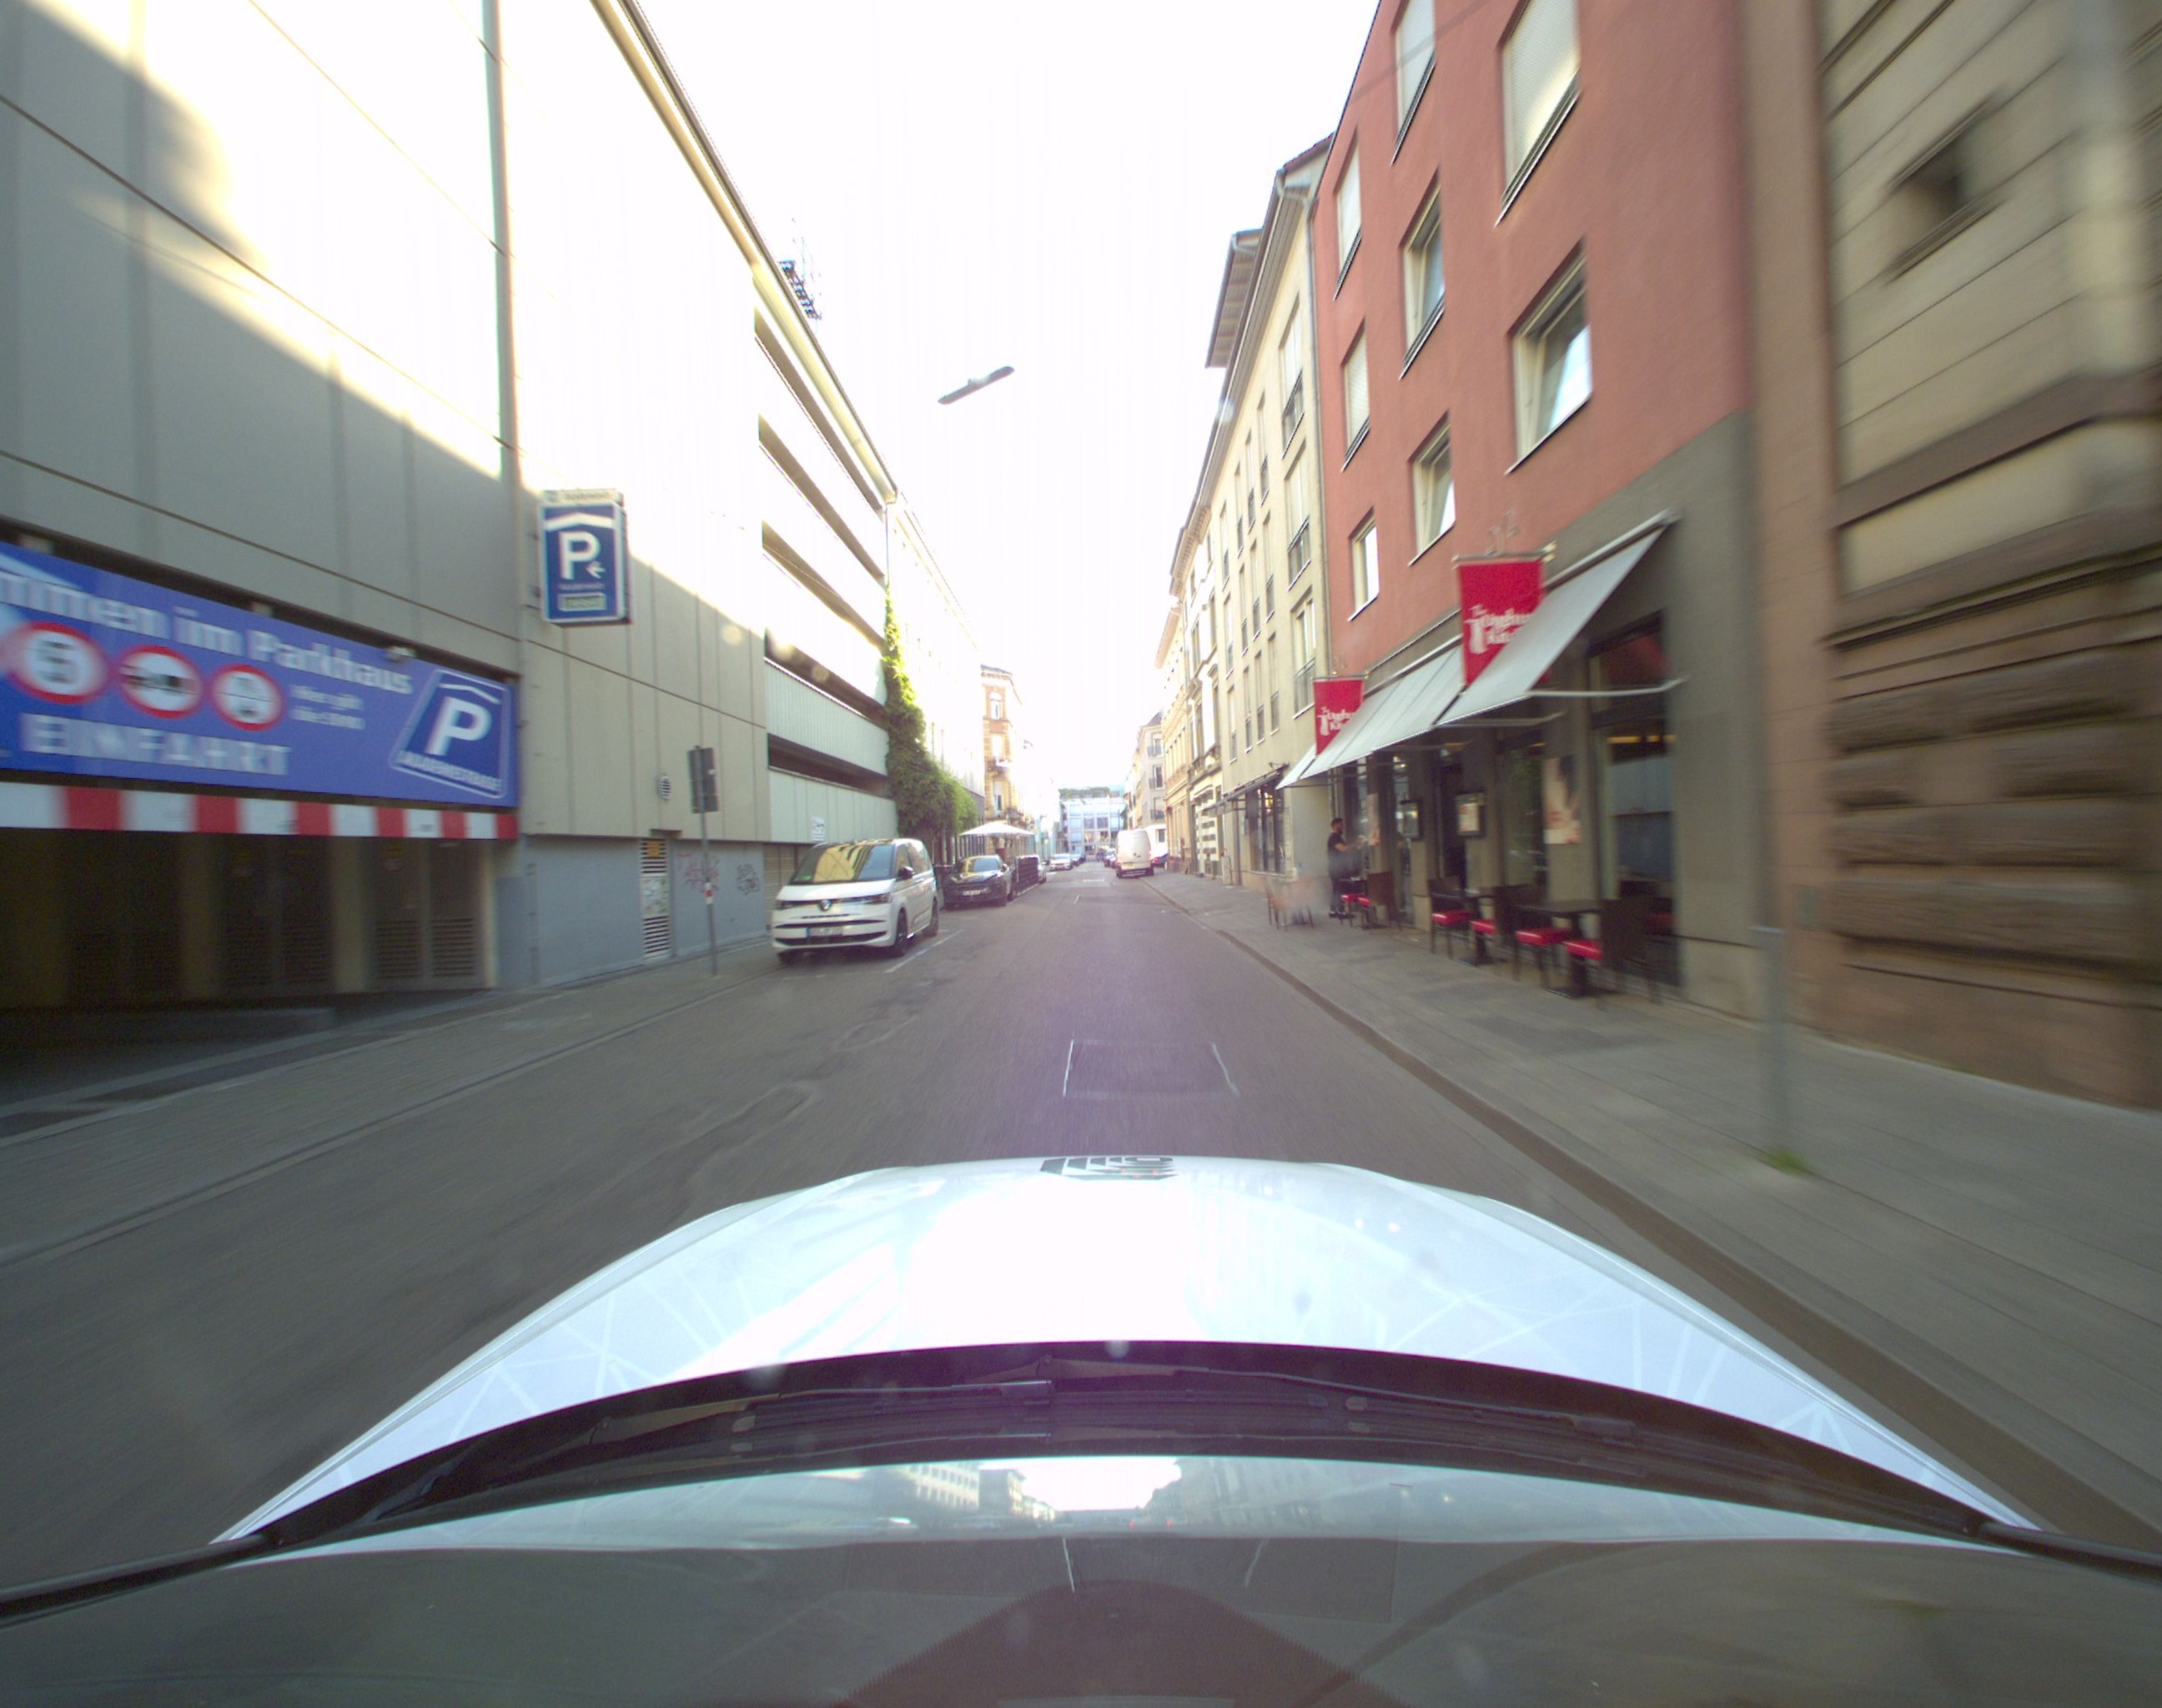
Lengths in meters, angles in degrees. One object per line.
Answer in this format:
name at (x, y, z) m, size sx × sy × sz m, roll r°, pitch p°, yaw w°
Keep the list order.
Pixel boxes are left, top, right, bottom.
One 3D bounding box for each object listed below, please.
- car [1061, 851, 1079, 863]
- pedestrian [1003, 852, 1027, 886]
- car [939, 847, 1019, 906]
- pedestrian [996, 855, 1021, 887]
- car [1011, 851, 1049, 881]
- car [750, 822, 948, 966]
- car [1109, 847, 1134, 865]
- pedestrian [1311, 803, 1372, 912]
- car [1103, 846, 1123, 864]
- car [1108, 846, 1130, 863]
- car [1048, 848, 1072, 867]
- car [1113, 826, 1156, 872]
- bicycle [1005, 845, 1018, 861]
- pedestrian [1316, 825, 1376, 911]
car at (-1.319, 0.362, 96.556) m, size 1.987 × 1.355 × 4.429 m, roll -2°, pitch 0°, yaw 1°
pedestrian at (-2.586, 0.570, 31.951) m, size 0.778 × 1.287 × 0.916 m, roll -3°, pitch 0°, yaw 1°
car at (-3.140, 0.635, 25.948) m, size 1.876 × 1.568 × 4.769 m, roll -5°, pitch 0°, yaw -1°
pedestrian at (-2.762, 0.643, 30.964) m, size 0.546 × 1.165 × 0.746 m, roll -2°, pitch 0°, yaw 33°
car at (-2.567, 0.594, 41.751) m, size 1.652 × 1.414 × 3.882 m, roll -2°, pitch 0°, yaw 0°
car at (-3.745, 0.558, 14.181) m, size 1.988 × 1.939 × 4.848 m, roll -4°, pitch 0°, yaw -1°
car at (3.552, 0.166, 72.510) m, size 1.932 × 1.372 × 3.788 m, roll -4°, pitch 0°, yaw 0°
pedestrian at (4.519, 0.065, 14.170) m, size 0.656 × 1.792 × 0.730 m, roll -5°, pitch 0°, yaw 0°
car at (3.250, 0.094, 83.927) m, size 1.887 × 1.784 × 4.000 m, roll -2°, pitch 0°, yaw 0°
car at (3.643, 0.068, 78.580) m, size 1.957 × 1.557 × 3.889 m, roll -2°, pitch 0°, yaw 1°
car at (-1.872, 0.309, 73.670) m, size 1.988 × 1.564 × 4.505 m, roll -4°, pitch 0°, yaw -1°
car at (3.067, -0.306, 47.961) m, size 2.268 × 2.439 × 6.207 m, roll -2°, pitch 0°, yaw 2°
bicycle at (-3.979, -0.063, 46.705) m, size 0.594 × 0.905 × 1.644 m, roll -2°, pitch 0°, yaw 0°
pedestrian at (4.790, 0.240, 14.767) m, size 0.822 × 1.486 × 0.661 m, roll -3°, pitch 0°, yaw 0°
